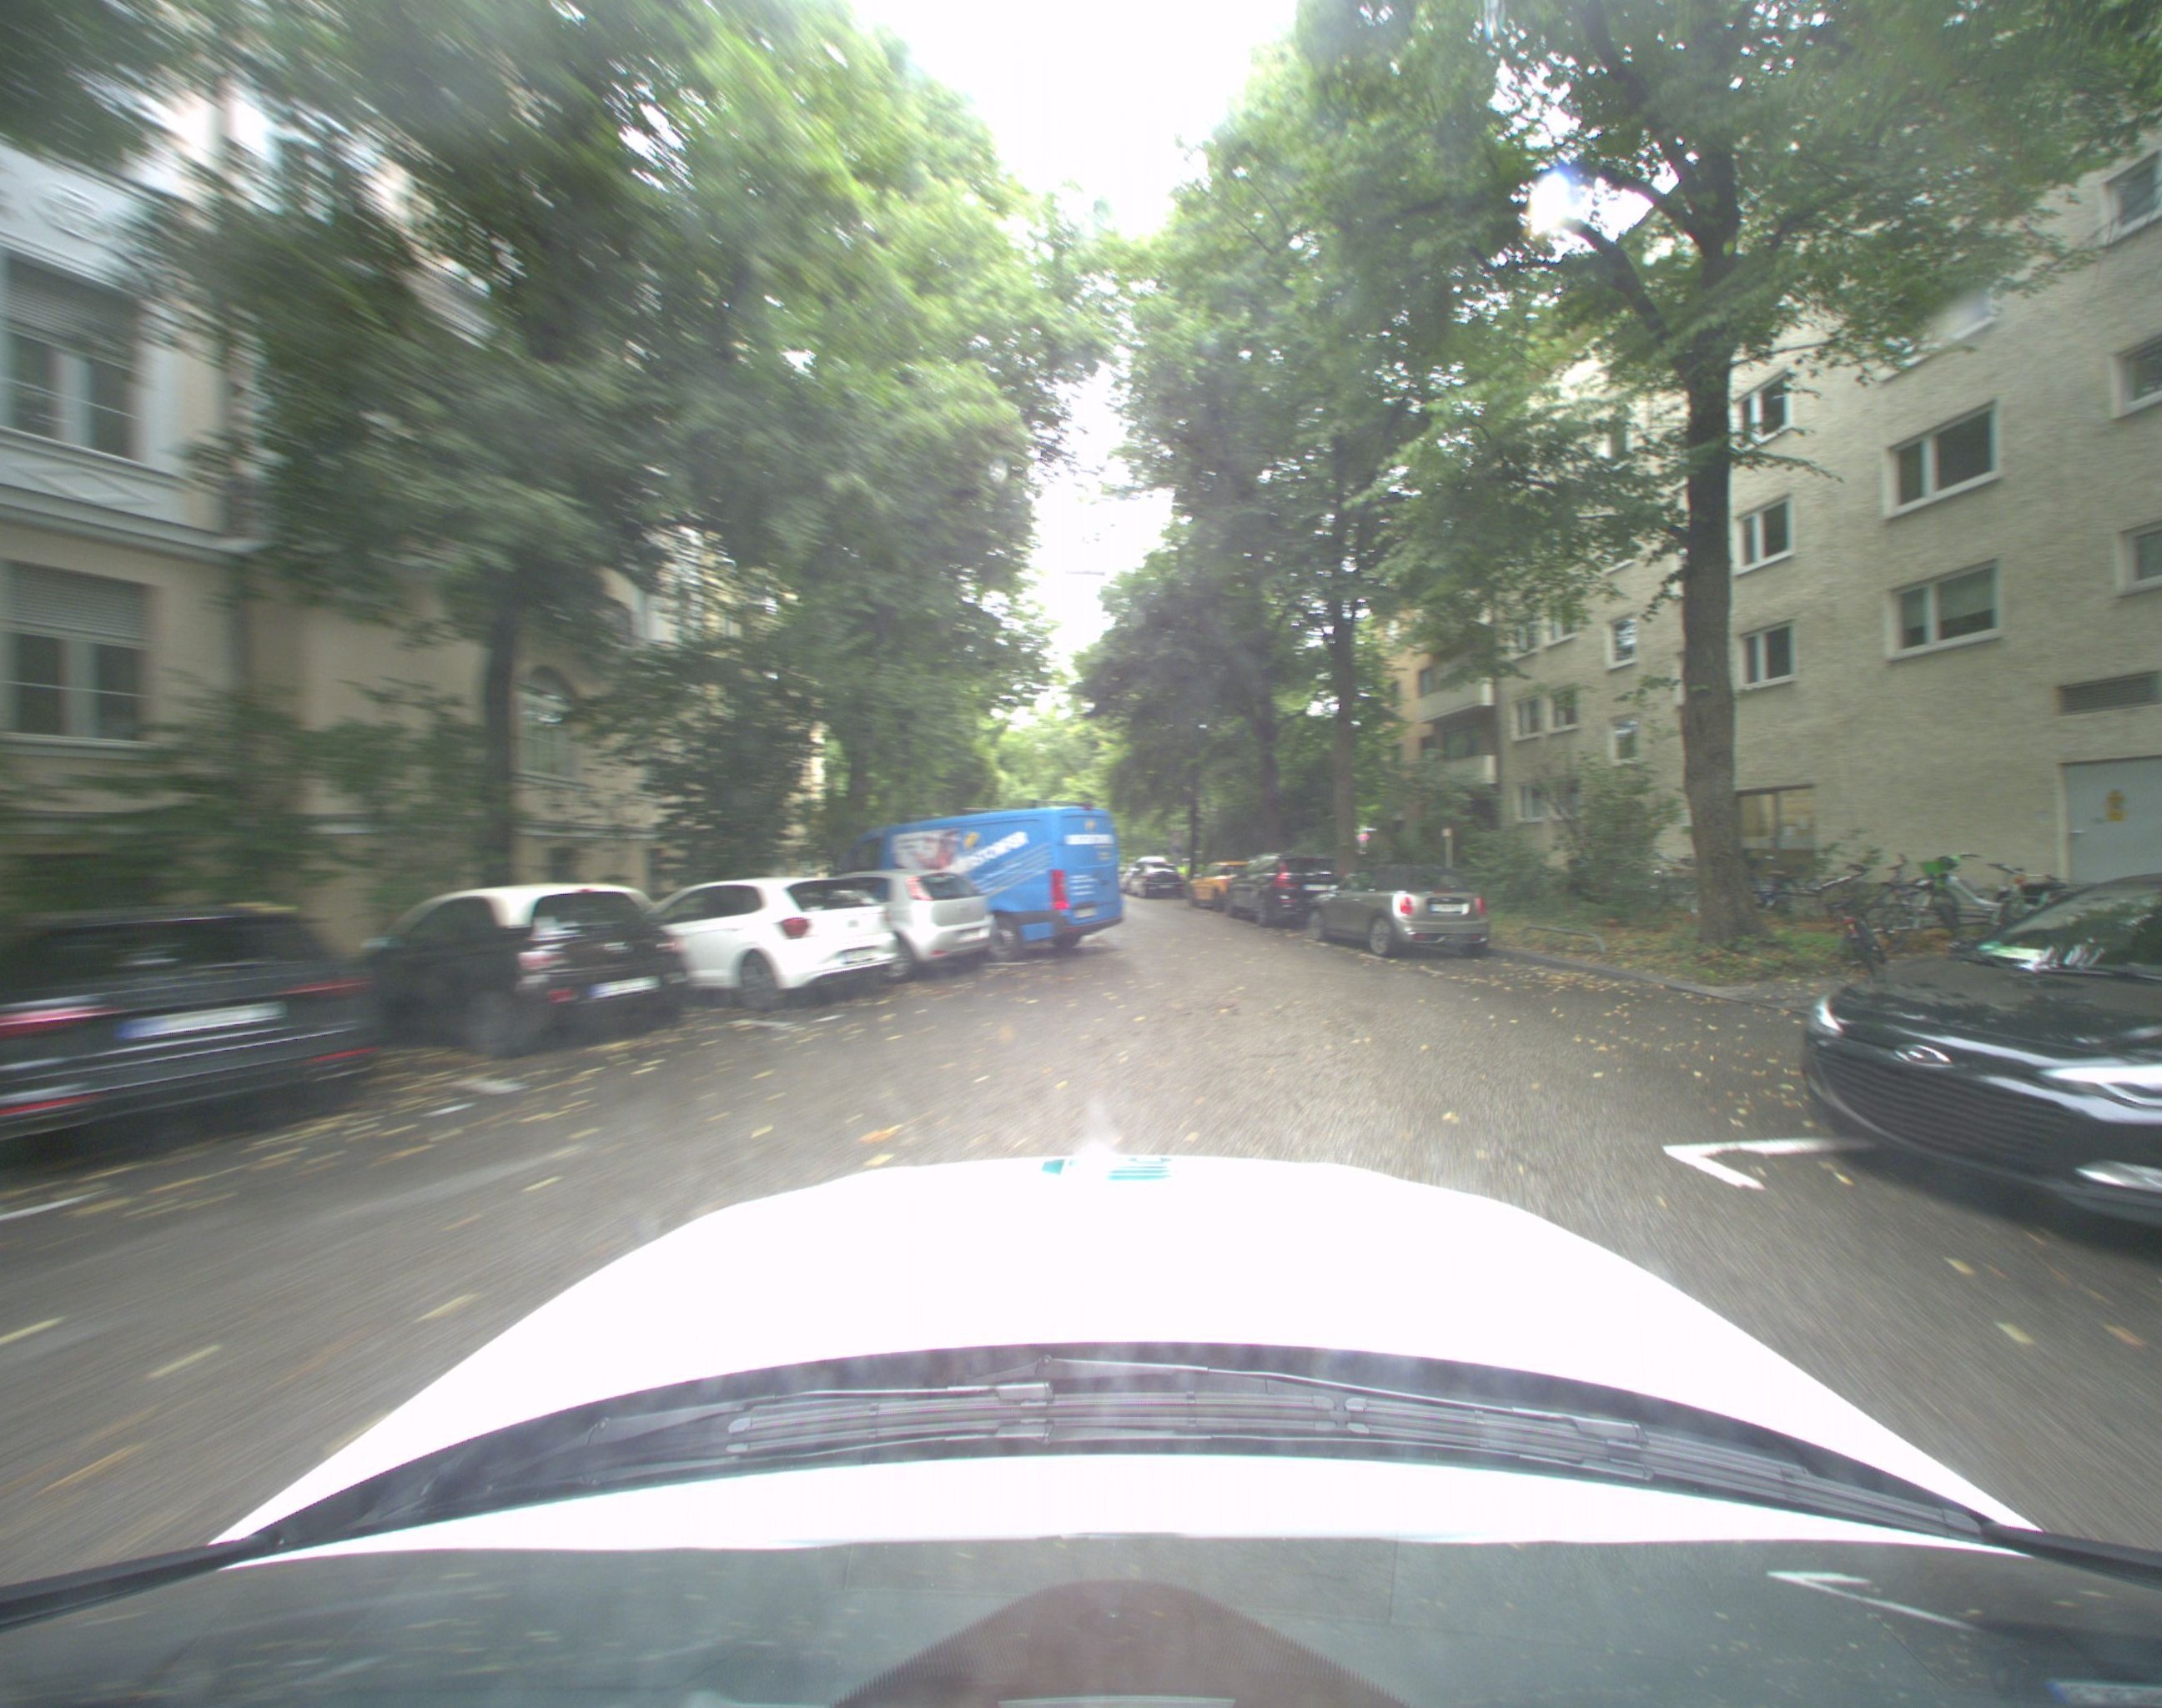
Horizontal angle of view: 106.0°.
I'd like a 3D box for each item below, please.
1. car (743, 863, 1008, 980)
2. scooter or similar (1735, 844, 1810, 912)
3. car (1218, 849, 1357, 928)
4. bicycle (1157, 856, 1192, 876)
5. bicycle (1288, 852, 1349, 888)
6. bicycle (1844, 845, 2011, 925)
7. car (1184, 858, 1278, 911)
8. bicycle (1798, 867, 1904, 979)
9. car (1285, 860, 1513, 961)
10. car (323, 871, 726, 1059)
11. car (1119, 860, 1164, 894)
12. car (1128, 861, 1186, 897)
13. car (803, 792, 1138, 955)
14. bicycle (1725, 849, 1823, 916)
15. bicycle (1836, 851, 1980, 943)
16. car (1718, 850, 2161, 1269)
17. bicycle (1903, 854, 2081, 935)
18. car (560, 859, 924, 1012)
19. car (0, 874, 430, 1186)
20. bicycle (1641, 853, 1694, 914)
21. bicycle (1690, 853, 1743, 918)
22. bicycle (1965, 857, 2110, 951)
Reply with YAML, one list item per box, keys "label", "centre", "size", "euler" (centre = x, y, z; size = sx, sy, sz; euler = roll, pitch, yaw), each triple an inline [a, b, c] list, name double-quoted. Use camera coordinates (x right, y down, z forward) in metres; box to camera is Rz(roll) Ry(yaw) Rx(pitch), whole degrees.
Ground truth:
- label: "car"
  centre: [-2.998, 0.932, 11.754]
  size: [3.508, 1.433, 1.654]
  euler: [-3, -1, 30]
- label: "scooter or similar"
  centre: [13.283, 0.451, 15.668]
  size: [0.383, 1.252, 1.134]
  euler: [-1, 0, -5]
- label: "car"
  centre: [4.727, 0.732, 19.384]
  size: [1.828, 1.629, 4.518]
  euler: [-1, 0, -5]
- label: "bicycle"
  centre: [4.814, 0.619, 41.890]
  size: [1.744, 0.982, 0.273]
  euler: [-2, -1, 3]
- label: "bicycle"
  centre: [7.596, 0.497, 26.033]
  size: [1.832, 1.083, 0.545]
  euler: [-2, 0, -14]
- label: "bicycle"
  centre: [12.848, 0.441, 12.439]
  size: [0.445, 1.124, 1.762]
  euler: [-1, 0, -16]
- label: "car"
  centre: [4.391, 0.840, 24.390]
  size: [1.618, 1.412, 3.768]
  euler: [-1, 0, -9]
- label: "bicycle"
  centre: [9.228, 0.759, 9.736]
  size: [1.880, 1.164, 0.757]
  euler: [-1, 0, -42]
- label: "car"
  centre: [5.305, 0.863, 14.326]
  size: [1.896, 1.413, 4.420]
  euler: [-2, -1, -6]
- label: "car"
  centre: [-5.621, 1.055, 8.169]
  size: [3.701, 1.425, 1.845]
  euler: [-6, -2, 30]
- label: "car"
  centre: [2.798, 1.047, 38.376]
  size: [1.644, 1.474, 3.639]
  euler: [-1, 0, -3]
- label: "car"
  centre: [3.116, 1.012, 34.138]
  size: [1.679, 1.358, 4.001]
  euler: [0, 0, -6]
- label: "car"
  centre: [-1.993, 0.439, 13.937]
  size: [5.425, 2.354, 2.078]
  euler: [-4, -2, 30]
- label: "bicycle"
  centre: [12.317, 0.489, 14.456]
  size: [1.949, 1.124, 0.442]
  euler: [-1, 0, -21]
- label: "bicycle"
  centre: [10.927, 0.545, 10.759]
  size: [1.876, 1.124, 0.537]
  euler: [-1, 0, -18]
- label: "car"
  centre: [5.654, 0.686, 3.835]
  size: [4.074, 1.394, 1.732]
  euler: [-1, 0, -4]
- label: "bicycle"
  centre: [13.617, 0.569, 12.251]
  size: [0.445, 1.124, 1.762]
  euler: [-1, 0, -16]
- label: "car"
  centre: [-4.243, 1.012, 10.064]
  size: [4.231, 1.513, 1.815]
  euler: [-6, -2, 29]
- label: "car"
  centre: [-6.548, 0.993, 5.638]
  size: [4.109, 1.425, 1.876]
  euler: [-4, -1, 32]
- label: "bicycle"
  centre: [11.559, 0.557, 16.032]
  size: [1.781, 1.124, 0.440]
  euler: [-1, 0, -41]
- label: "bicycle"
  centre: [11.774, 0.549, 15.069]
  size: [1.781, 1.124, 0.440]
  euler: [-1, 0, -41]
- label: "bicycle"
  centre: [12.494, 0.623, 10.632]
  size: [1.876, 1.124, 0.537]
  euler: [-1, 0, -18]
